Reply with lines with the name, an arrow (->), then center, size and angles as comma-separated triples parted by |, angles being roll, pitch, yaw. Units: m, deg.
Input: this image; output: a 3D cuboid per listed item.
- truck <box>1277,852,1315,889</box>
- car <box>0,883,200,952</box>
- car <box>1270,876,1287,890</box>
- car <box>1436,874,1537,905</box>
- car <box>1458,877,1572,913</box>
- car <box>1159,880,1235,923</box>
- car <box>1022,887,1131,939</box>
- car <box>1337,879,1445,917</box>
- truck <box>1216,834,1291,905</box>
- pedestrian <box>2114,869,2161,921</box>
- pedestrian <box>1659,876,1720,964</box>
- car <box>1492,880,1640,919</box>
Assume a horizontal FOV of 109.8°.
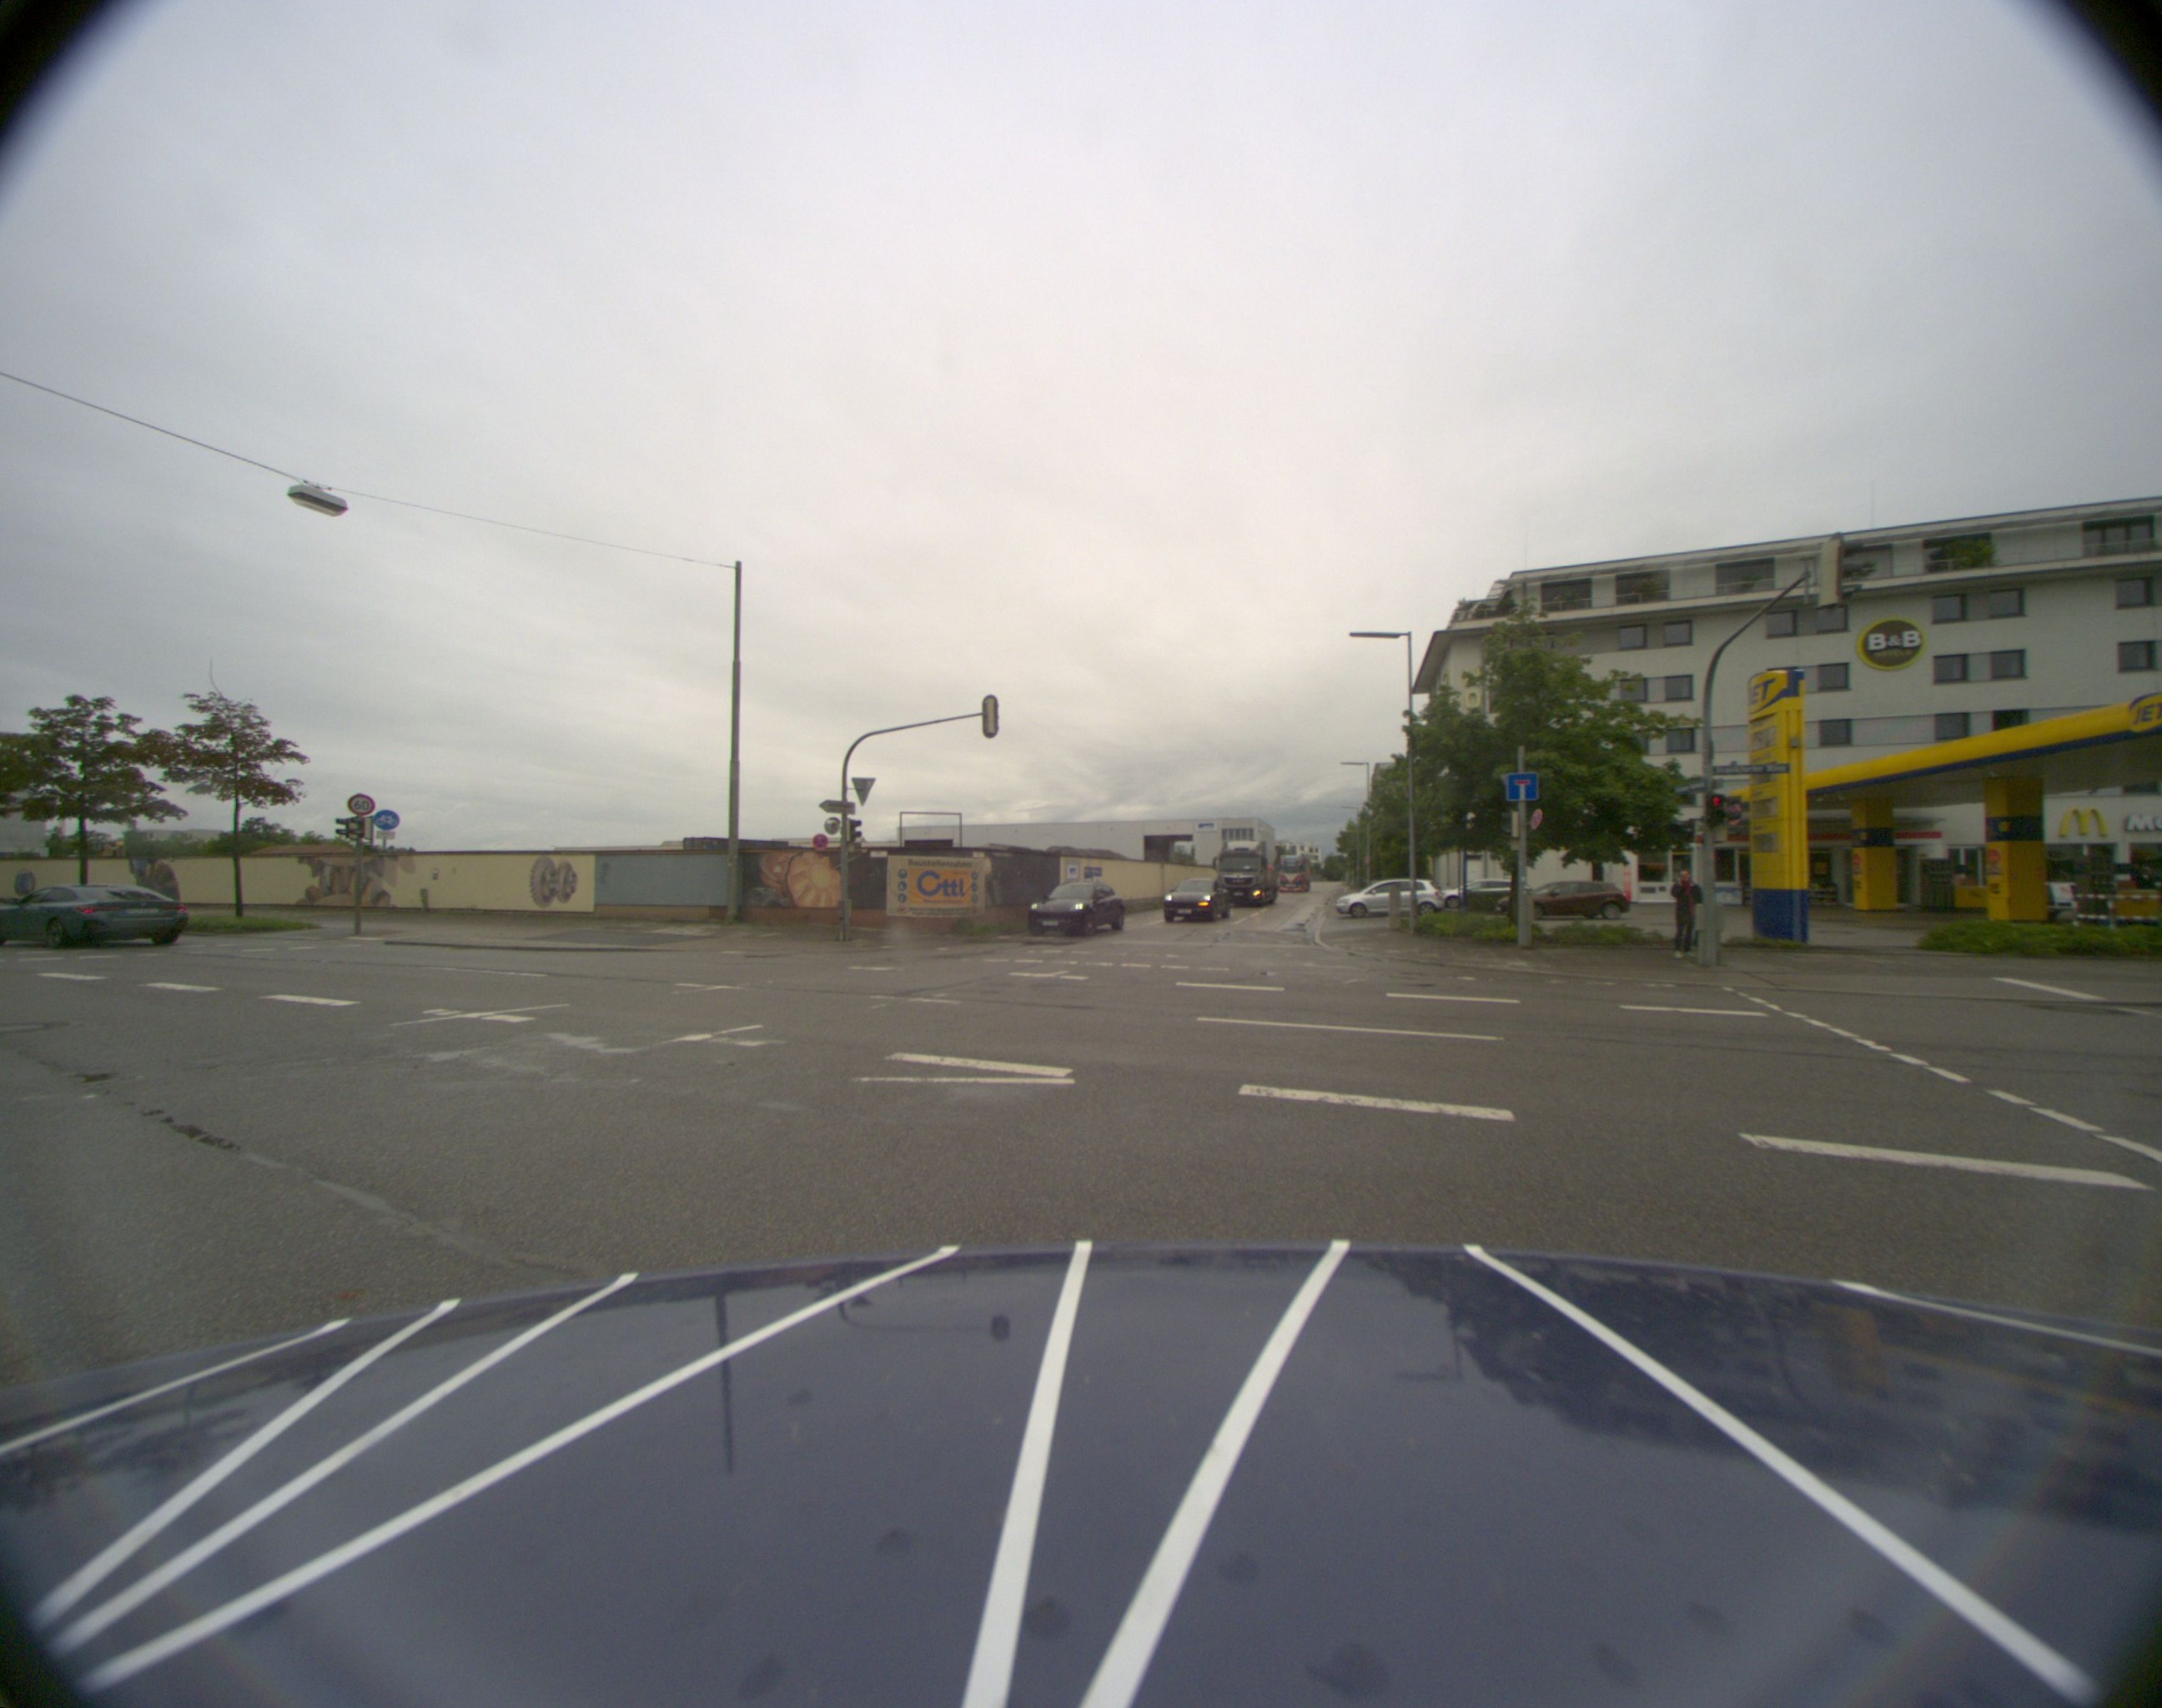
truck -> 24.449, 1.856, 85.912 | 2.872, 3.808, 11.958 | -1, -1, 22
car -> -23.619, 1.444, 18.088 | 4.429, 1.497, 1.921 | -1, -3, 19
car -> 26.200, 3.860, 100.751 | 1.869, 1.695, 4.111 | -1, -3, 20
car -> 20.085, 1.768, 37.835 | 4.184, 1.468, 1.912 | -1, -3, 19
car -> 18.248, 1.711, 32.123 | 3.969, 1.476, 1.632 | -1, -3, 21
car -> 4.743, 1.848, 30.503 | 1.995, 1.523, 4.641 | -1, -1, 22
car -> -0.043, 1.798, 24.264 | 1.995, 1.419, 4.272 | -1, -1, 22
car -> 12.632, 1.784, 31.206 | 3.970, 1.476, 1.631 | 0, -3, 17
truck -> 10.925, 0.958, 47.081 | 2.604, 3.832, 11.958 | -1, -1, 22
pedestrian -> 35.559, 1.358, 25.549 | 0.642, 1.718, 0.710 | 0, -2, 15
pedestrian -> 11.751, 1.253, 14.697 | 0.686, 1.606, 0.806 | 0, 1, 18
car -> 18.142, 1.692, 28.594 | 4.357, 1.375, 1.706 | 0, -2, 9
